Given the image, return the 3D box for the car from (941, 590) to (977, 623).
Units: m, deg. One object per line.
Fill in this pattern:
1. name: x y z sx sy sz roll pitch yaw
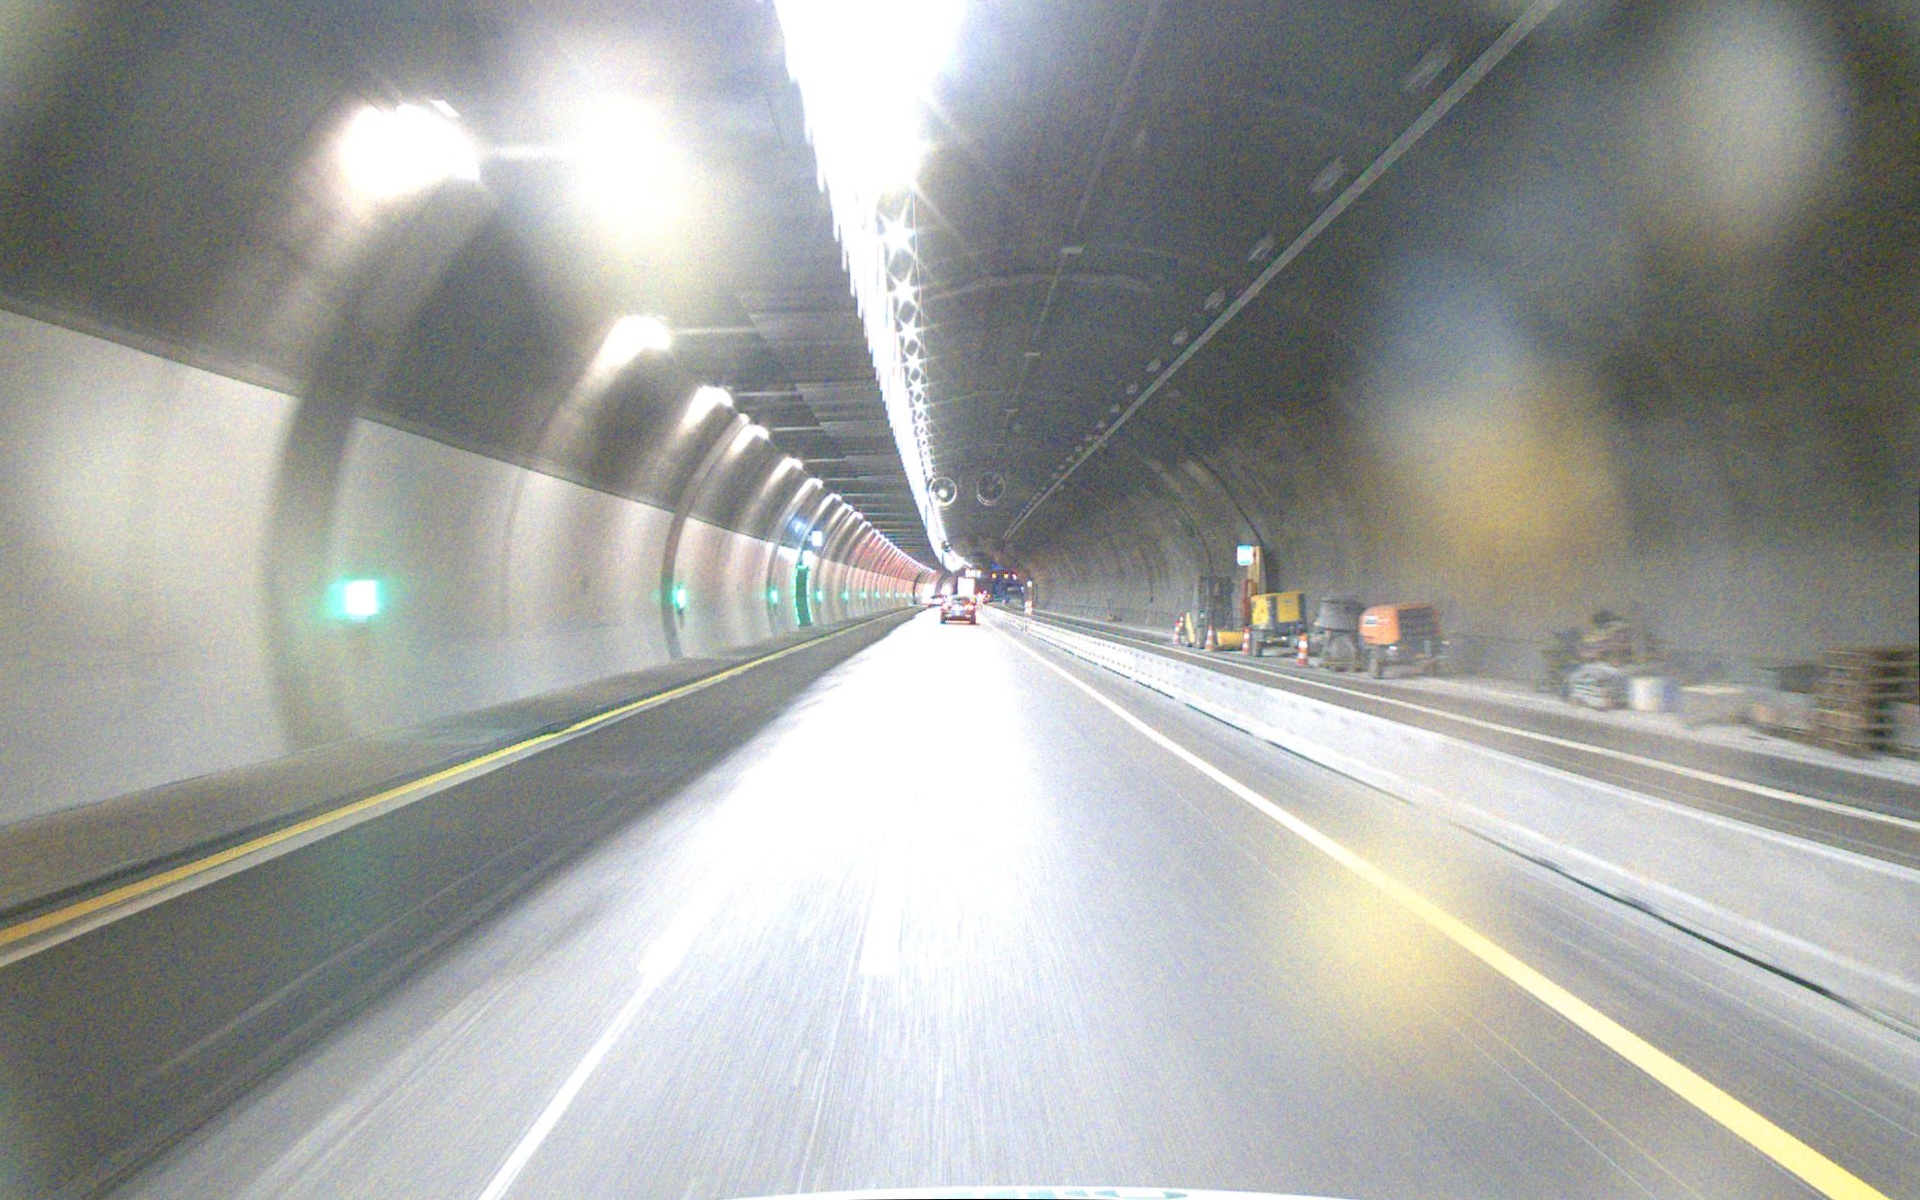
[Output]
1. car: -0.077 0.350 86.757 1.849 1.635 3.999 1 0 -1

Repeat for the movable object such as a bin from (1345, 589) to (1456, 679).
1. movable object such as a bin: 8.638 0.633 32.621 1.276 1.621 3.054 -3 1 -1

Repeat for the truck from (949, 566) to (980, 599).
1. truck: 0.754 -2.716 261.054 4.451 5.074 9.600 1 0 2

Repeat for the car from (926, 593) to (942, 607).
1. car: -3.120 0.045 198.109 1.790 1.635 3.999 1 0 -1

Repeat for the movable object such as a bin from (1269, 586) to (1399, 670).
1. movable object such as a bin: 8.446 0.581 37.756 1.823 1.704 4.501 -3 1 -1

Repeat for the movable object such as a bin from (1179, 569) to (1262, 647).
1. movable object such as a bin: 7.728 0.231 49.373 1.649 2.183 4.627 1 0 -1

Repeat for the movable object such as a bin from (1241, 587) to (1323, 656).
1. movable object such as a bin: 8.529 0.564 44.045 1.524 1.739 3.054 1 0 -1
